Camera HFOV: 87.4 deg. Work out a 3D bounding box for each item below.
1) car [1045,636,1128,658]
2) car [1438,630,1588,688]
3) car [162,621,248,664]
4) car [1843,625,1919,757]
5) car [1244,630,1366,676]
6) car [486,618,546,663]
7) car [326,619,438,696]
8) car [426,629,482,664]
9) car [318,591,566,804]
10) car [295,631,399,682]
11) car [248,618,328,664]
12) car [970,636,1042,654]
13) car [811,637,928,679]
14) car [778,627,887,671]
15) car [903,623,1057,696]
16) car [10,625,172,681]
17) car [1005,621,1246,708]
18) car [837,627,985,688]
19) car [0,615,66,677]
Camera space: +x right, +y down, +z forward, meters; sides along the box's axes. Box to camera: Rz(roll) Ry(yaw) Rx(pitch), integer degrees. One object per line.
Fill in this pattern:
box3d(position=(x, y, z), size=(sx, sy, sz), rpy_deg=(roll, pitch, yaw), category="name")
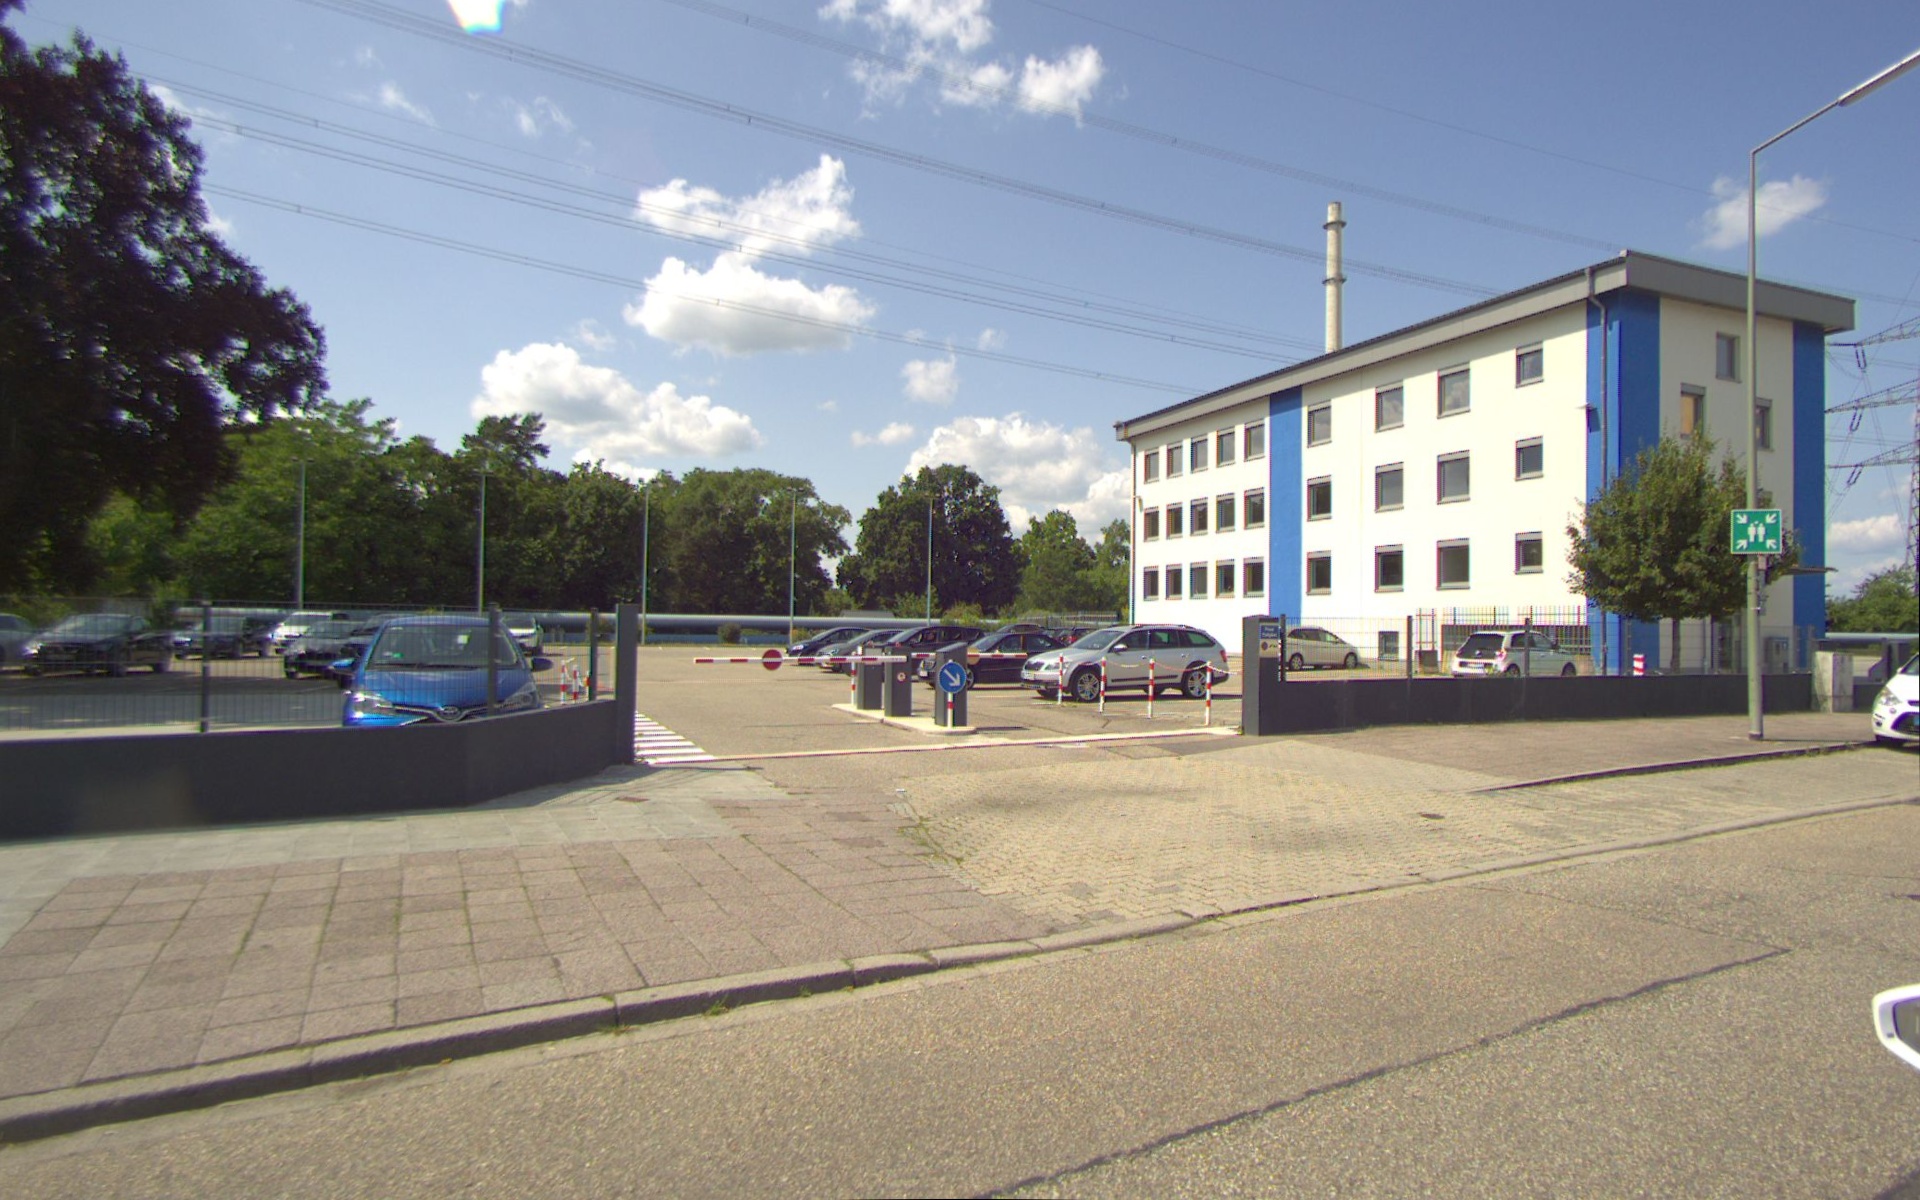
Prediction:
box3d(position=(6.472, 2.416, 51.389), size=(3.850, 1.090, 1.761), rpy_deg=(2, -2, -25), category="car")
box3d(position=(15.572, 1.642, 28.315), size=(3.705, 1.526, 1.868), rpy_deg=(2, -2, -24), category="car")
box3d(position=(-25.783, 1.431, 34.429), size=(1.623, 1.381, 3.974), rpy_deg=(1, -2, -26), category="car")
box3d(position=(14.848, 1.293, 14.431), size=(4.697, 1.731, 1.859), rpy_deg=(2, -1, -30), category="car")
box3d(position=(13.113, 2.016, 38.129), size=(4.384, 1.676, 1.819), rpy_deg=(2, -2, -25), category="car")
box3d(position=(-18.764, 1.714, 42.601), size=(1.958, 1.808, 3.765), rpy_deg=(1, -2, -19), category="car")
box3d(position=(-12.566, 1.221, 22.057), size=(1.658, 1.521, 4.188), rpy_deg=(2, -2, -24), category="car")
box3d(position=(-18.672, 1.706, 37.168), size=(1.658, 1.246, 3.303), rpy_deg=(2, -2, -24), category="car")
box3d(position=(-5.278, 0.857, 10.217), size=(1.856, 1.731, 3.631), rpy_deg=(2, -2, -29), category="car")
box3d(position=(-16.090, 1.458, 26.551), size=(1.805, 1.243, 4.188), rpy_deg=(2, -2, -24), category="car")
box3d(position=(-26.338, 1.597, 39.512), size=(1.811, 1.684, 4.189), rpy_deg=(2, -2, -23), category="car")
box3d(position=(2.654, 2.595, 58.035), size=(3.842, 0.981, 1.765), rpy_deg=(2, -2, -19), category="car")
box3d(position=(-3.084, 1.959, 34.057), size=(3.702, 1.339, 1.535), rpy_deg=(1, -2, -19), category="car")
box3d(position=(-4.951, 1.890, 39.222), size=(3.964, 1.638, 1.635), rpy_deg=(2, -2, -38), category="car")
box3d(position=(0.500, 1.482, 25.389), size=(3.431, 1.731, 1.868), rpy_deg=(2, -2, -24), category="car")
box3d(position=(-20.891, 1.258, 24.362), size=(1.805, 1.243, 4.188), rpy_deg=(2, -2, -24), category="car")
box3d(position=(3.485, 1.325, 21.026), size=(4.778, 1.658, 1.819), rpy_deg=(2, -2, -24), category="car")
box3d(position=(-1.459, 1.699, 29.926), size=(4.012, 1.731, 1.867), rpy_deg=(2, -2, -25), category="car")
box3d(position=(-23.538, 1.072, 24.141), size=(1.805, 1.426, 4.271), rpy_deg=(2, -2, -24), category="car")
